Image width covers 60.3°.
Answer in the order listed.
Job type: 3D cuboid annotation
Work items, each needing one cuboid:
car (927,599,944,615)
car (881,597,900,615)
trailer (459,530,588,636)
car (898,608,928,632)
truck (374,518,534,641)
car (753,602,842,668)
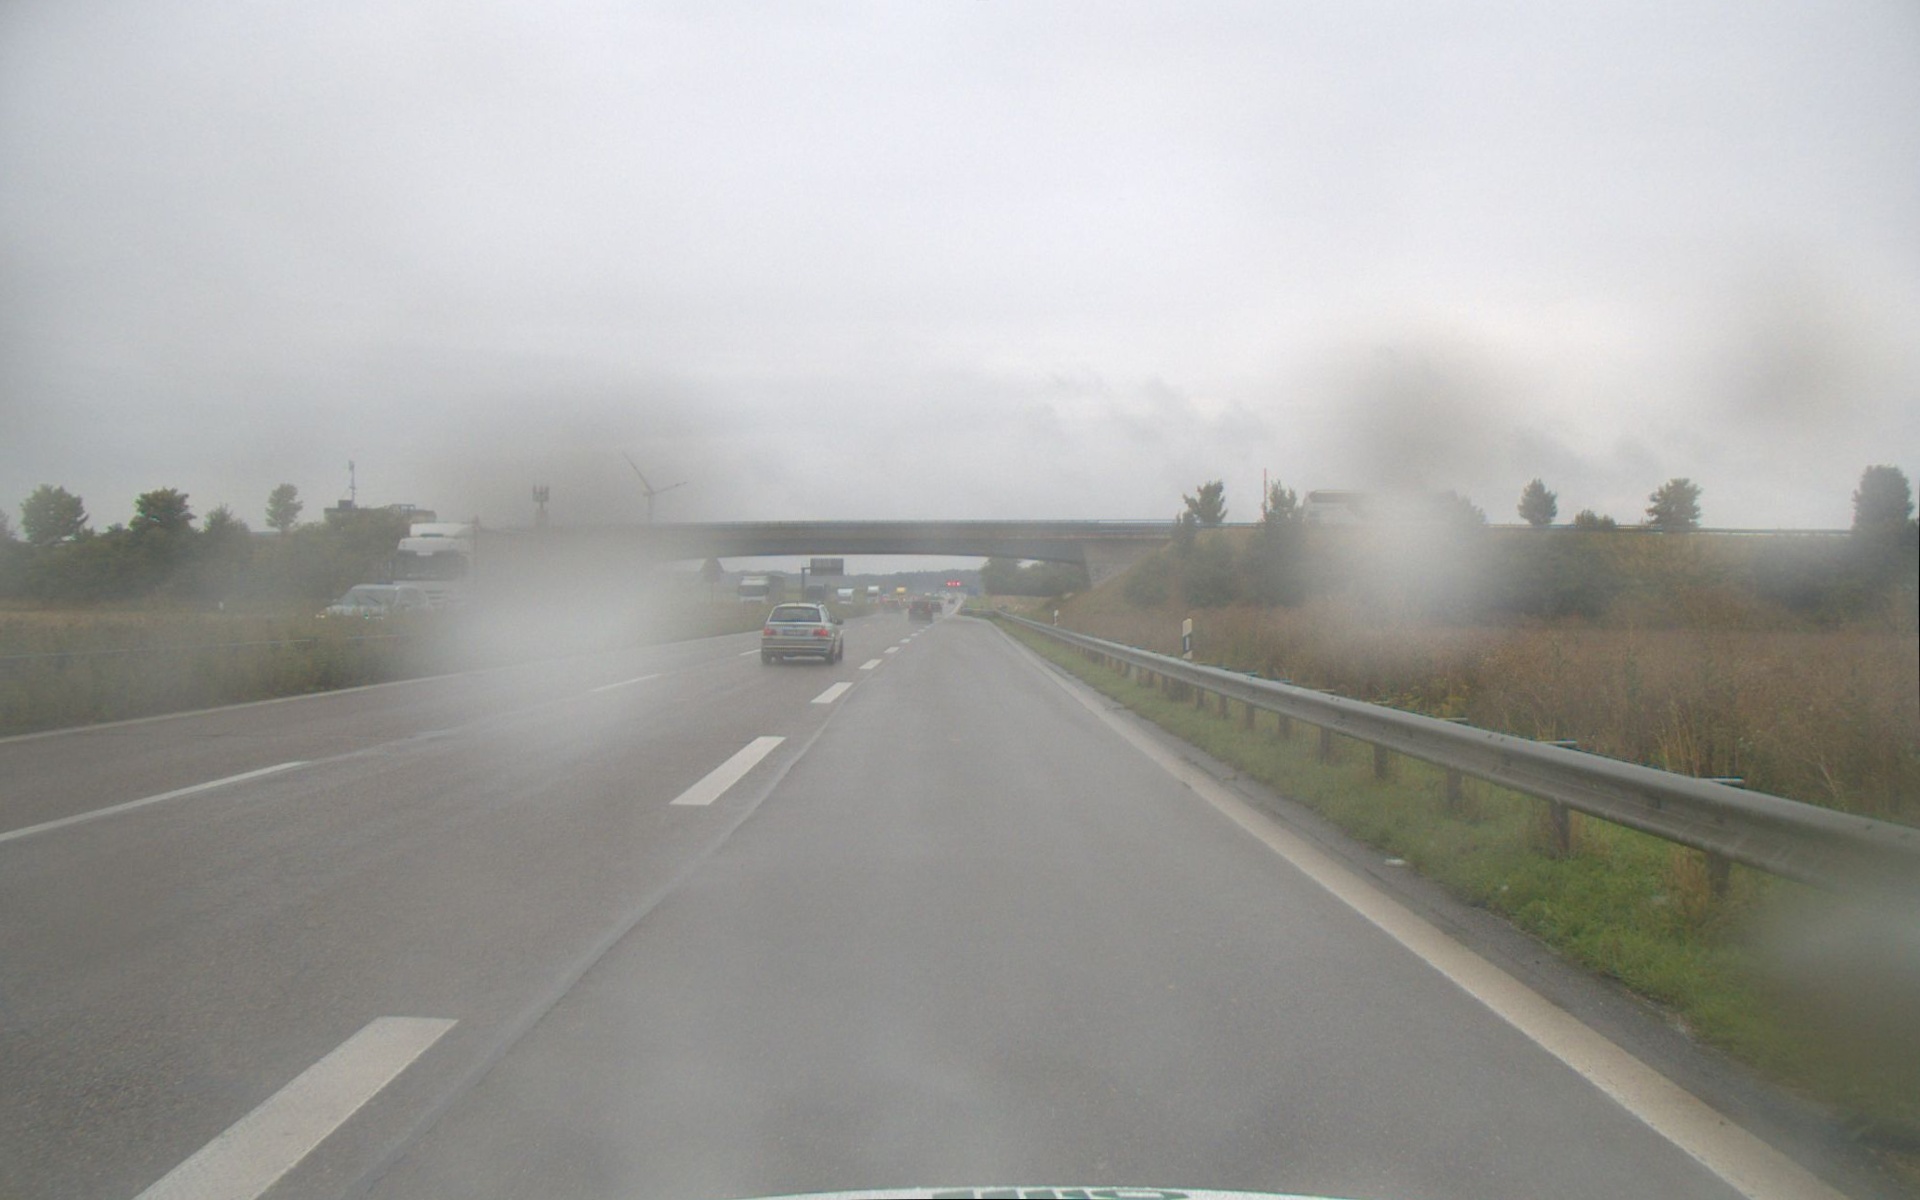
[{"bbox_3d":[-2.973,0.808,199.737,1.953,1.727,4.000,-2,2,-1],"label":"car"},{"bbox_3d":[-7.480,0.658,178.300,1.953,1.780,4.000,-2,2,-1],"label":"car"},{"bbox_3d":[-19.708,-0.718,75.460,3.163,4.462,10.512,0,0,-1],"label":"trailer"},{"bbox_3d":[-3.414,1.478,120.787,2.102,1.665,4.594,1,-1,-1],"label":"car"},{"bbox_3d":[-19.600,-0.734,64.943,3.163,4.462,10.512,0,0,-1],"label":"truck"},{"bbox_3d":[-3.893,0.812,40.326,1.836,1.514,4.794,0,0,-2],"label":"car"}]
